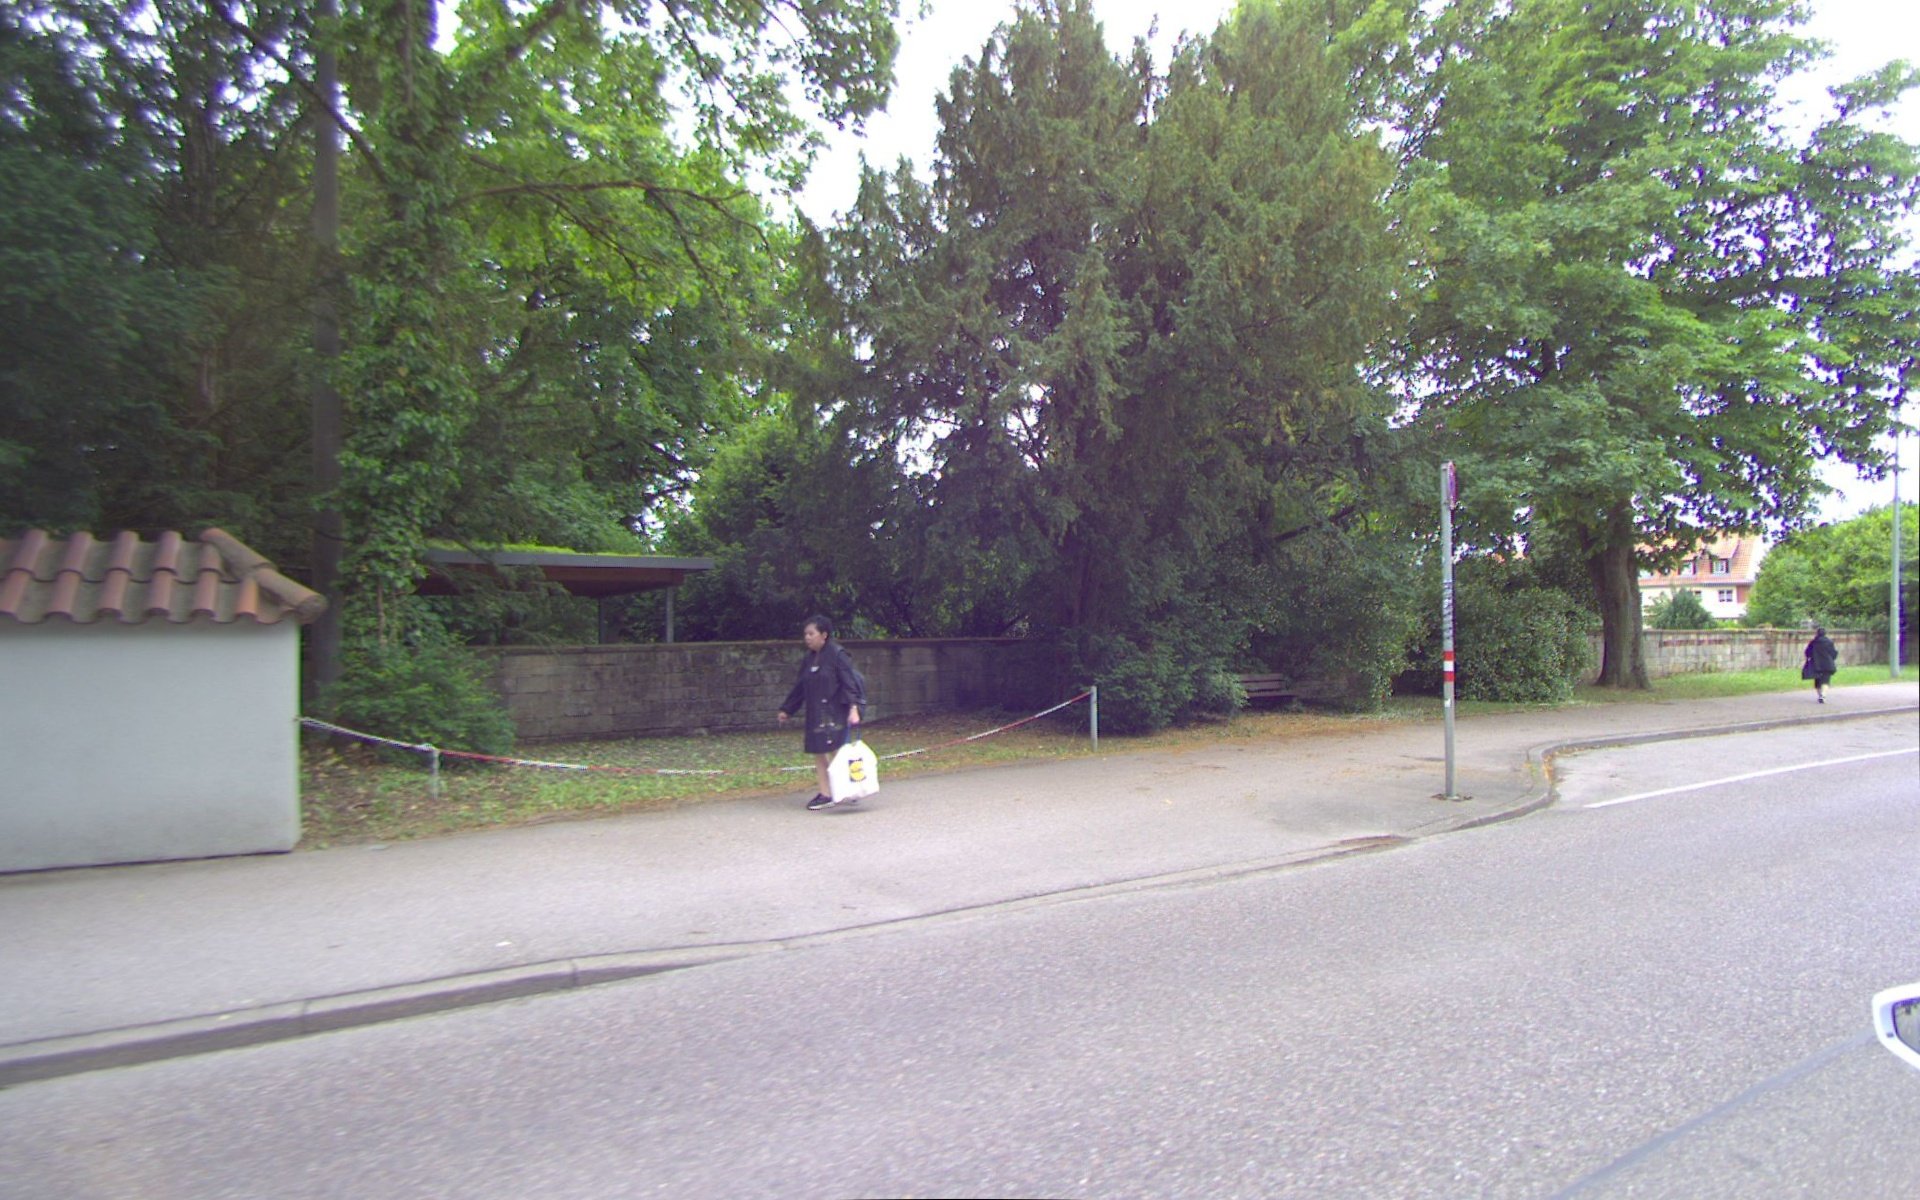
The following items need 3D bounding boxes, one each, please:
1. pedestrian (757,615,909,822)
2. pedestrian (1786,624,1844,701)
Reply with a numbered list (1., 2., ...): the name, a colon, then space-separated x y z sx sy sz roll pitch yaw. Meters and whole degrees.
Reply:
1. pedestrian: -1.034 0.920 8.332 0.910 1.581 0.902 1 0 22
2. pedestrian: 18.351 1.320 21.553 0.958 1.599 0.743 1 0 -37
